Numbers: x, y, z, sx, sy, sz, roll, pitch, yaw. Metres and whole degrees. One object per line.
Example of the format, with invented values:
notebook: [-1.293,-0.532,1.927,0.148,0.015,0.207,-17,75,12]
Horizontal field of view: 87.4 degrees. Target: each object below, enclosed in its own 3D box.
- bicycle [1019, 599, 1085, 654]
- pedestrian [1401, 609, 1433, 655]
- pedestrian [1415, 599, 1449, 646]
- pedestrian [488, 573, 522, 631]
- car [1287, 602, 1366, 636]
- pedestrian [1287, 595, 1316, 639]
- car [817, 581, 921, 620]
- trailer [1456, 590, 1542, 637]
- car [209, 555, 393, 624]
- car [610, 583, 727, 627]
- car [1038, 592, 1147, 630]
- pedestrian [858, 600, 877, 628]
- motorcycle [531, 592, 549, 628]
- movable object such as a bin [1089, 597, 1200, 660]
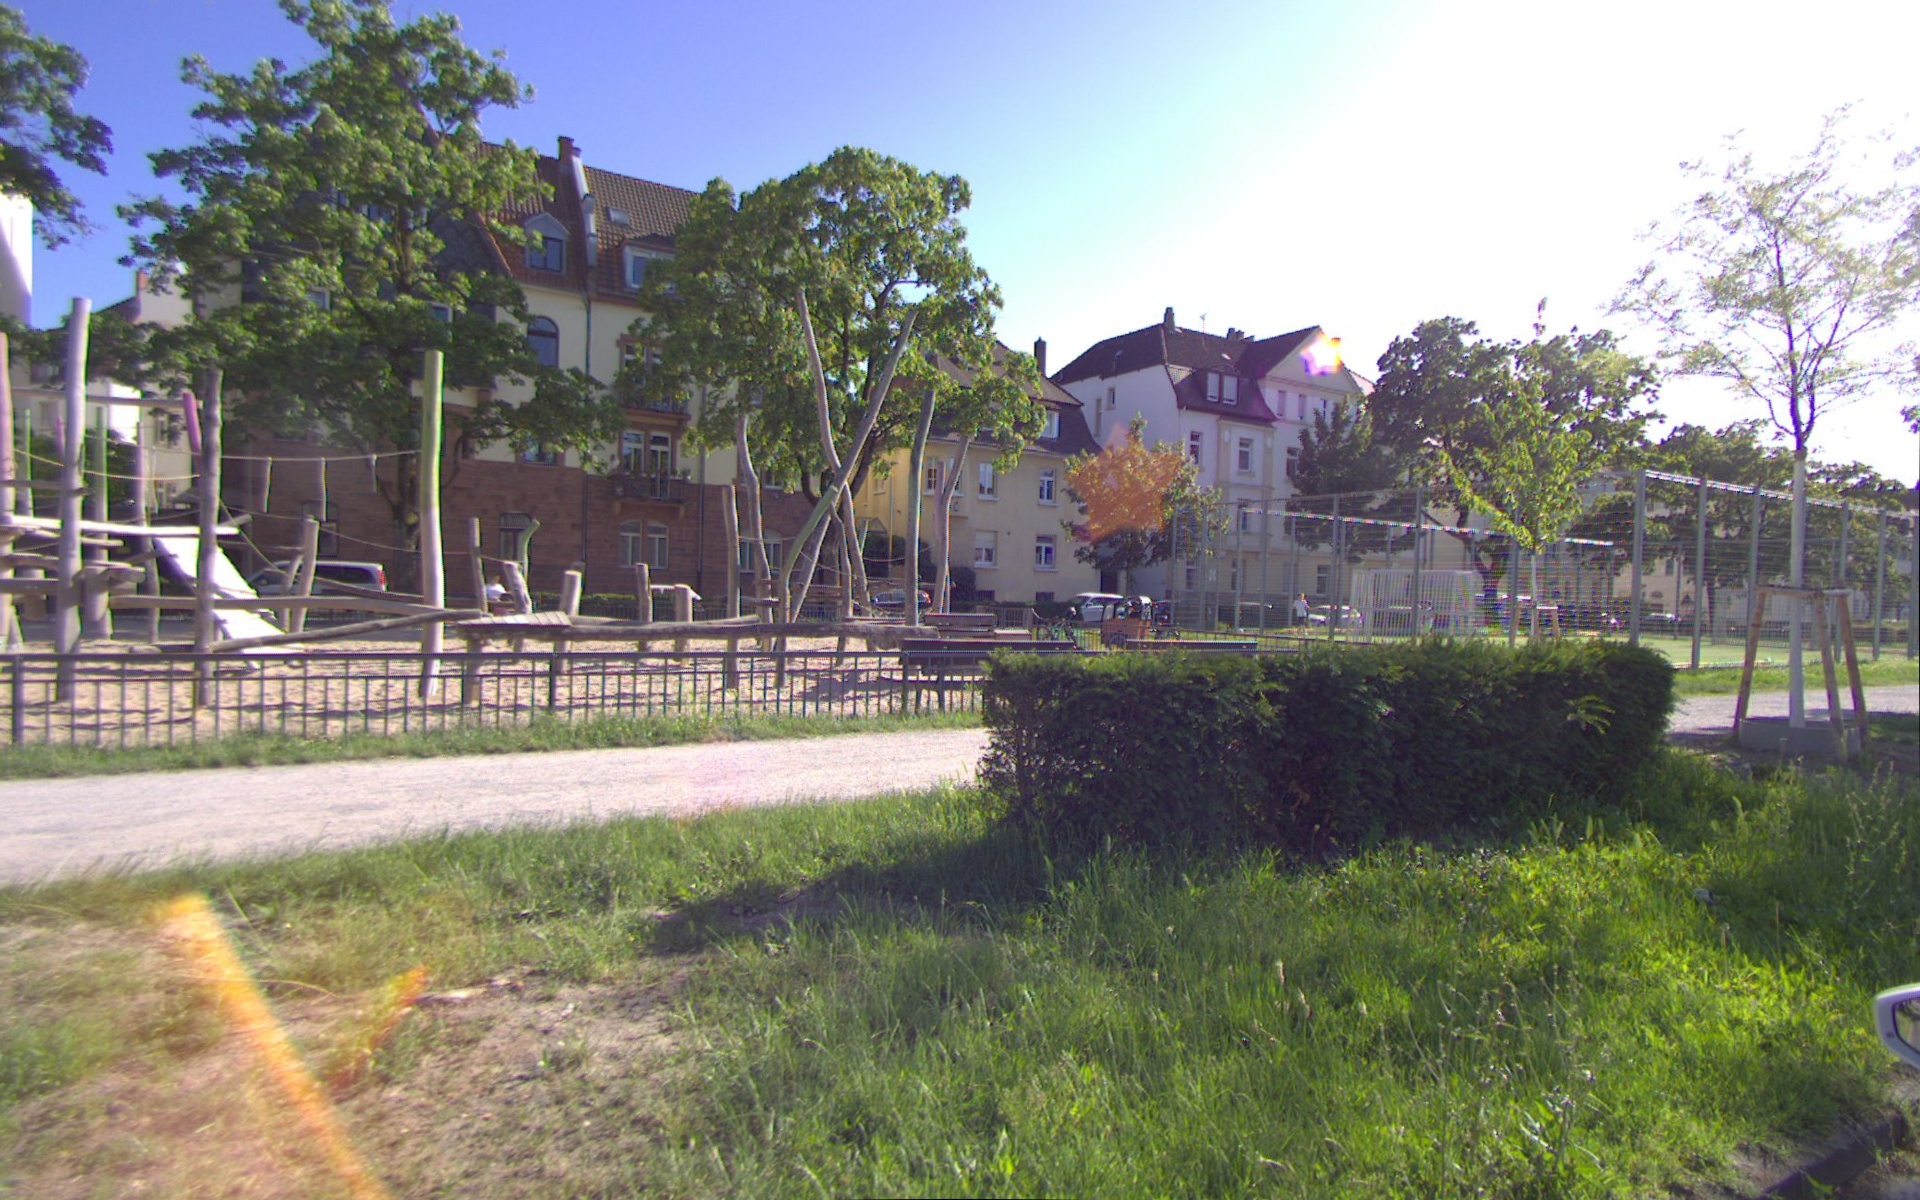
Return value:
bicycle: [2.037,0.572,22.507,0.494,1.122,1.784,1,1,-31]
pedestrian: [13.829,0.960,30.411,0.637,1.336,0.650,2,1,-1]
pedestrian: [13.849,0.652,29.471,0.637,1.336,0.650,2,1,-1]
pedestrian: [-10.761,0.035,23.752,0.643,1.336,0.644,1,1,-33]
car: [20.998,1.093,57.547,4.436,1.801,1.785,2,1,-30]
pedestrian: [10.677,0.515,31.453,0.637,1.336,0.650,2,1,-1]
car: [-3.834,0.024,42.405,3.953,1.530,1.785,2,1,-30]
trailer: [35.857,0.909,66.785,5.736,2.909,2.331,1,1,-31]
car: [-20.901,-0.311,32.120,4.778,2.009,1.785,2,1,-30]
car: [-11.123,0.207,38.348,3.953,1.530,1.785,2,1,-30]
car: [6.409,0.521,48.533,5.121,1.674,1.872,2,1,-30]
pedestrian: [-2.730,0.407,29.606,0.354,0.815,0.481,1,1,-28]
motorcycle: [-10.141,0.228,24.249,0.281,0.838,0.698,1,1,-31]
movable object such as a bin: [3.969,0.590,21.767,1.045,1.258,2.316,1,0,-33]
